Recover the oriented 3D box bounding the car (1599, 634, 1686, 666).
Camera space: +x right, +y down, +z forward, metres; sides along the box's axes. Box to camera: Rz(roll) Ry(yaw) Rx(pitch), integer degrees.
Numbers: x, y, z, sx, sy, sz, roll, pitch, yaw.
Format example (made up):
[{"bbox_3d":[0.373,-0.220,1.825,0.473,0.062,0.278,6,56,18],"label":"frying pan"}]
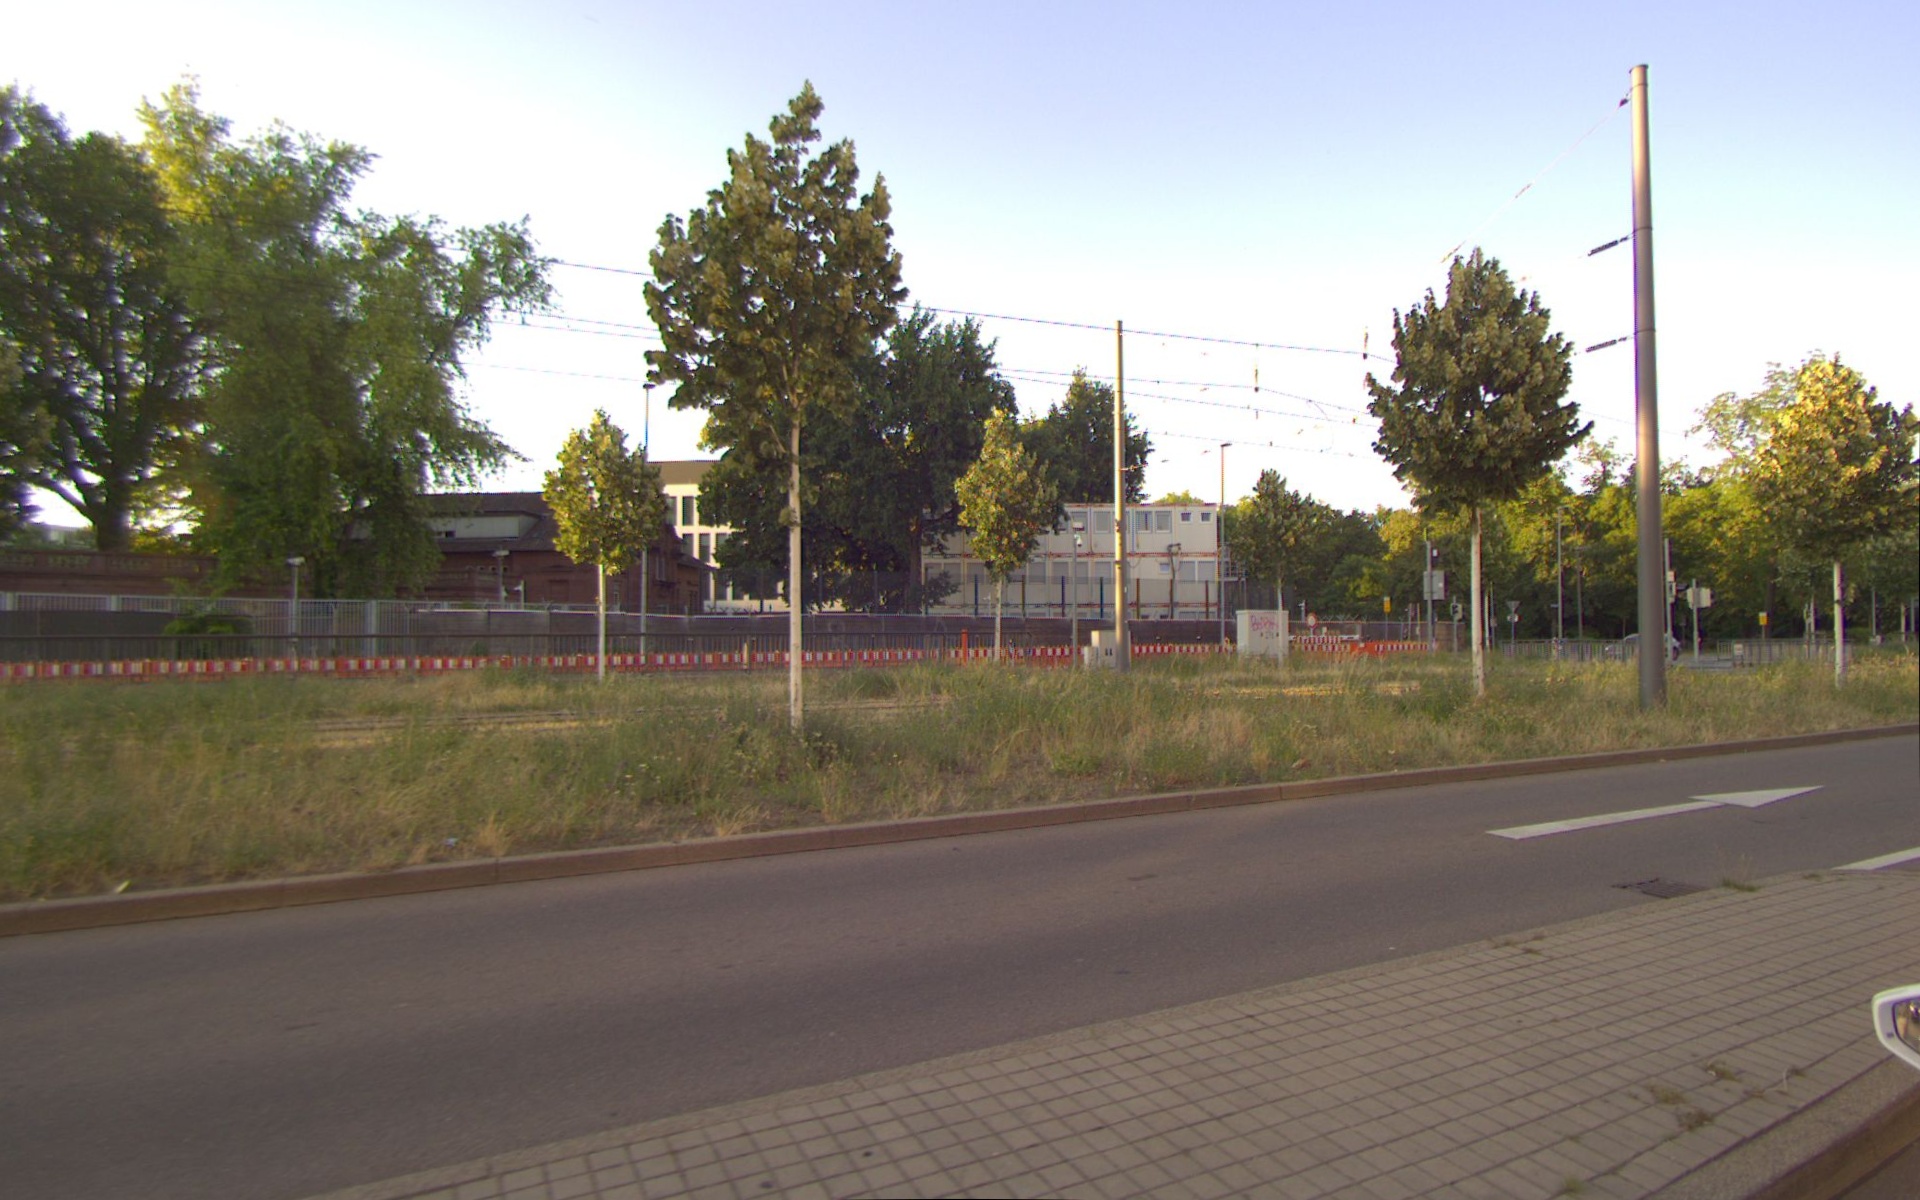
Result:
[{"bbox_3d":[36.503,2.668,53.723,4.463,1.501,1.925,-1,0,-27],"label":"car"}]
